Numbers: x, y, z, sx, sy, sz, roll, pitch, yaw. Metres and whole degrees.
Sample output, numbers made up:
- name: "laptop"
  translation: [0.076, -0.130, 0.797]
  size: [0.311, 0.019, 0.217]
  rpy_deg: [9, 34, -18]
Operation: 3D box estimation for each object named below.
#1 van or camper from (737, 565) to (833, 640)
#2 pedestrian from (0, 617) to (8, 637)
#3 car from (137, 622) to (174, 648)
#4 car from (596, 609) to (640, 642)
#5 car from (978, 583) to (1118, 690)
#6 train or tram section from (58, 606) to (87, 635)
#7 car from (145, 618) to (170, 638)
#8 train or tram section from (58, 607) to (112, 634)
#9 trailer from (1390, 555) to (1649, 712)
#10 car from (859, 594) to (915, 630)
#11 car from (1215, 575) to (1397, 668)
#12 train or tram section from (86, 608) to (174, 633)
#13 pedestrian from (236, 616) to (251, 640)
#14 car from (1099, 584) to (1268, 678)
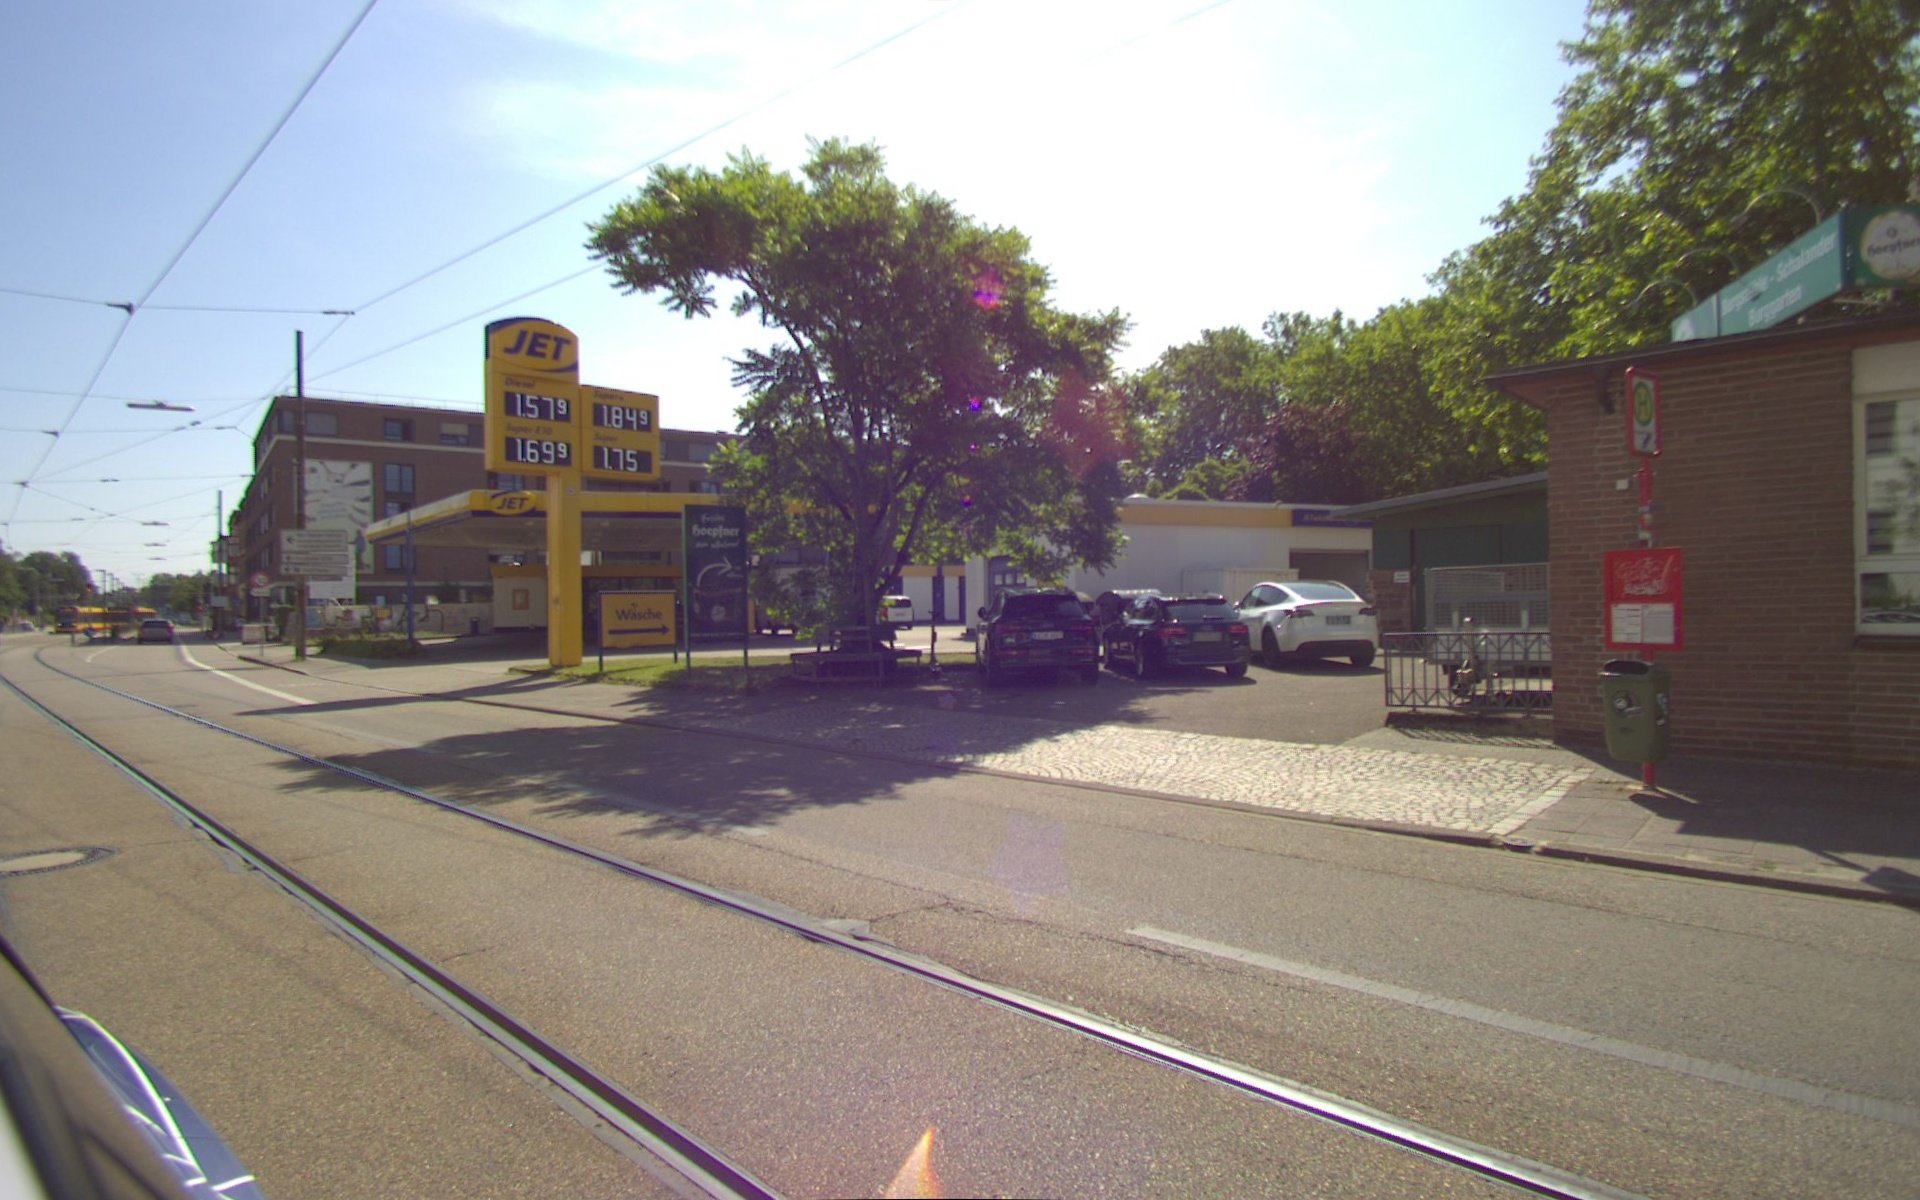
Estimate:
- name: "van or camper"
  translation: [-7.978, 0.074, 45.452]
  size: [2.571, 2.989, 6.735]
  rpy_deg: [-4, 2, -24]
- name: "pedestrian"
  translation: [-92.060, 2.587, 97.066]
  size: [0.968, 1.872, 1.240]
  rpy_deg: [0, -1, -38]
- name: "car"
  translation: [-51.342, 2.214, 64.577]
  size: [1.724, 1.583, 3.897]
  rpy_deg: [1, -1, -40]
- name: "car"
  translation: [-15.469, 1.116, 45.659]
  size: [1.673, 1.313, 4.404]
  rpy_deg: [-3, 1, -21]
- name: "car"
  translation: [1.414, 0.579, 18.115]
  size: [1.921, 1.637, 4.580]
  rpy_deg: [-1, 0, -2]
- name: "train or tram section"
  translation: [-112.752, 2.593, 128.588]
  size: [2.647, 3.507, 13.356]
  rpy_deg: [0, -1, -42]
- name: "car"
  translation: [-77.748, 2.716, 98.042]
  size: [1.778, 1.742, 4.197]
  rpy_deg: [-3, 0, -38]
- name: "train or tram section"
  translation: [-120.115, 2.849, 139.092]
  size: [2.642, 3.507, 13.380]
  rpy_deg: [-1, -1, -28]
- name: "trailer"
  translation: [6.501, 0.320, 11.644]
  size: [3.178, 1.537, 1.779]
  rpy_deg: [-1, 0, -45]
- name: "car"
  translation: [-4.152, 0.625, 56.683]
  size: [1.748, 1.775, 4.489]
  rpy_deg: [-3, 2, -22]
- name: "car"
  translation: [6.655, 0.384, 20.060]
  size: [1.922, 1.595, 4.579]
  rpy_deg: [-1, 0, -1]
- name: "train or tram section"
  translation: [-123.503, 3.012, 150.884]
  size: [2.649, 3.507, 13.344]
  rpy_deg: [-1, -1, -2]
- name: "pedestrian"
  translation: [-54.966, 2.160, 77.629]
  size: [0.833, 1.833, 0.840]
  rpy_deg: [-1, -1, -38]
- name: "car"
  translation: [3.935, 0.515, 18.673]
  size: [1.921, 1.479, 4.580]
  rpy_deg: [-1, 0, -2]
